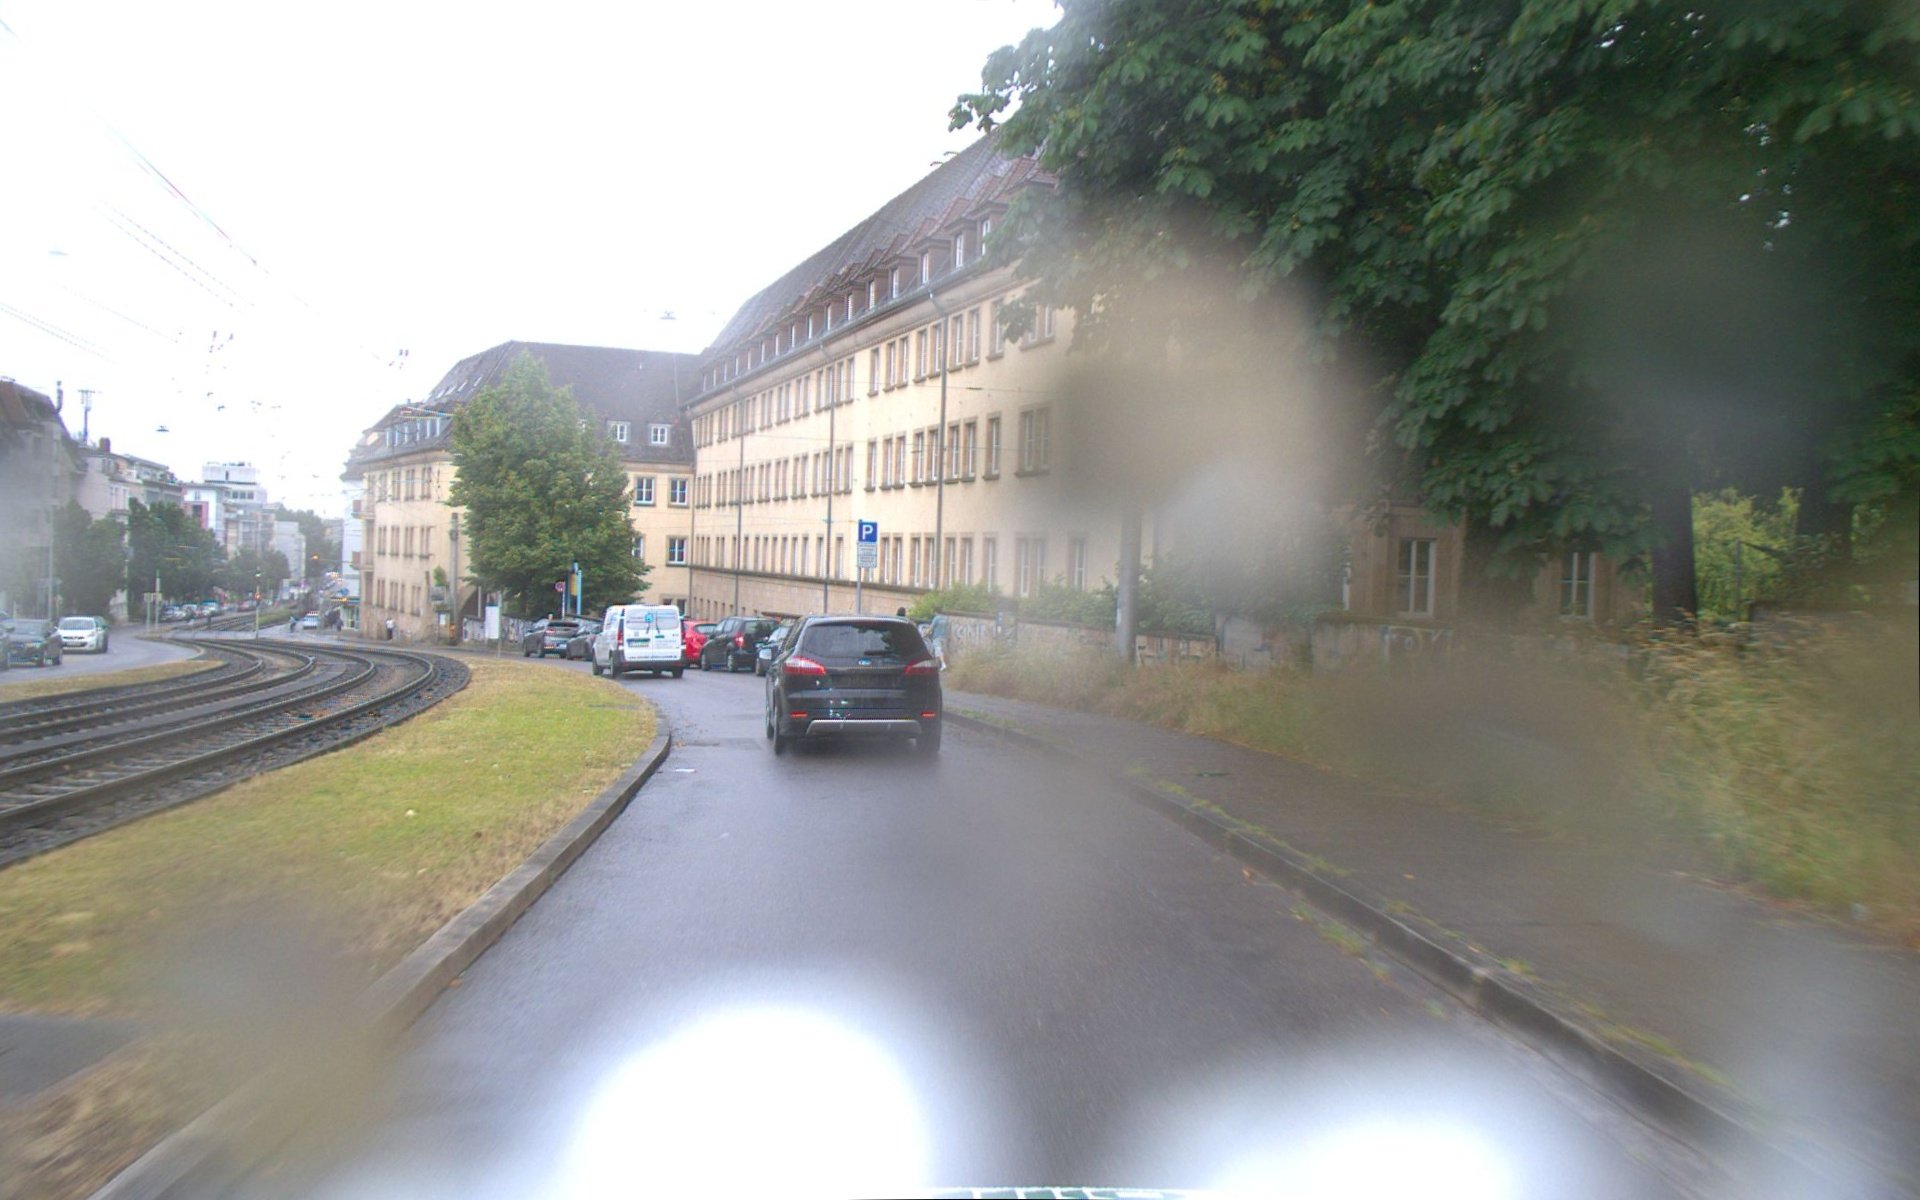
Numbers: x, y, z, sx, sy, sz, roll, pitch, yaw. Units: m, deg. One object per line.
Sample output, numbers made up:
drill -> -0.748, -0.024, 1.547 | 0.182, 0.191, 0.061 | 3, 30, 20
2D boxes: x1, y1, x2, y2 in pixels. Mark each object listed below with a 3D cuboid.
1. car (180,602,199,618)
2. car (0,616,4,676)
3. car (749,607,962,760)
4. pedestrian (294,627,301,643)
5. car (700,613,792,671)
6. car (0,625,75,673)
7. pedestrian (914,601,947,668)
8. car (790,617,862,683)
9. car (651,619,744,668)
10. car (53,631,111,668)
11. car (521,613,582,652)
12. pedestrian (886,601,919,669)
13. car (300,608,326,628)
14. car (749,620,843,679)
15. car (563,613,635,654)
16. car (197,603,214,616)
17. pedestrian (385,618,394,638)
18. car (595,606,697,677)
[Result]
car -> -96.140, 1.273, 206.370 | 1.967, 2.049, 3.970 | 1, -1, -24
car -> -26.180, 1.199, 42.504 | 1.775, 1.611, 4.675 | 1, -1, -18
car -> -1.291, 0.845, 18.667 | 1.886, 1.505, 3.989 | 0, 0, -11
pedestrian -> -55.826, 2.912, 139.398 | 0.503, 1.338, 0.501 | 1, -1, -27
car -> -6.318, 1.213, 48.548 | 1.644, 1.600, 3.827 | -1, 0, -24
car -> -29.660, 1.530, 52.699 | 1.937, 1.456, 4.174 | 1, -1, -20
pedestrian -> -0.797, 0.922, 44.651 | 0.706, 1.785, 0.735 | -1, -1, -17
car -> -3.235, 1.165, 39.658 | 1.568, 1.491, 2.716 | -1, 0, -7
car -> -8.528, 1.385, 53.446 | 1.648, 1.502, 4.025 | 2, -1, -30
car -> -37.381, 2.077, 70.482 | 1.741, 1.505, 3.710 | 0, -1, -22
car -> -16.954, 1.331, 68.474 | 1.645, 1.551, 4.074 | -1, 0, -26
pedestrian -> -1.536, 0.919, 44.131 | 0.706, 1.785, 0.735 | -1, -1, -17
car -> -61.230, 1.711, 156.572 | 1.963, 1.803, 3.979 | 1, -1, -18
car -> -4.350, 1.260, 43.531 | 1.515, 1.441, 3.619 | -1, 0, -22
car -> -13.888, 1.276, 63.475 | 1.647, 1.502, 4.070 | -1, 0, -28
car -> -99.976, 1.327, 219.303 | 1.967, 1.691, 3.970 | 1, -1, -24
pedestrian -> -39.009, 1.906, 113.021 | 0.499, 1.338, 0.506 | 1, -1, -29
car -> -8.414, 1.062, 44.091 | 2.105, 1.776, 4.195 | 0, 0, -19
